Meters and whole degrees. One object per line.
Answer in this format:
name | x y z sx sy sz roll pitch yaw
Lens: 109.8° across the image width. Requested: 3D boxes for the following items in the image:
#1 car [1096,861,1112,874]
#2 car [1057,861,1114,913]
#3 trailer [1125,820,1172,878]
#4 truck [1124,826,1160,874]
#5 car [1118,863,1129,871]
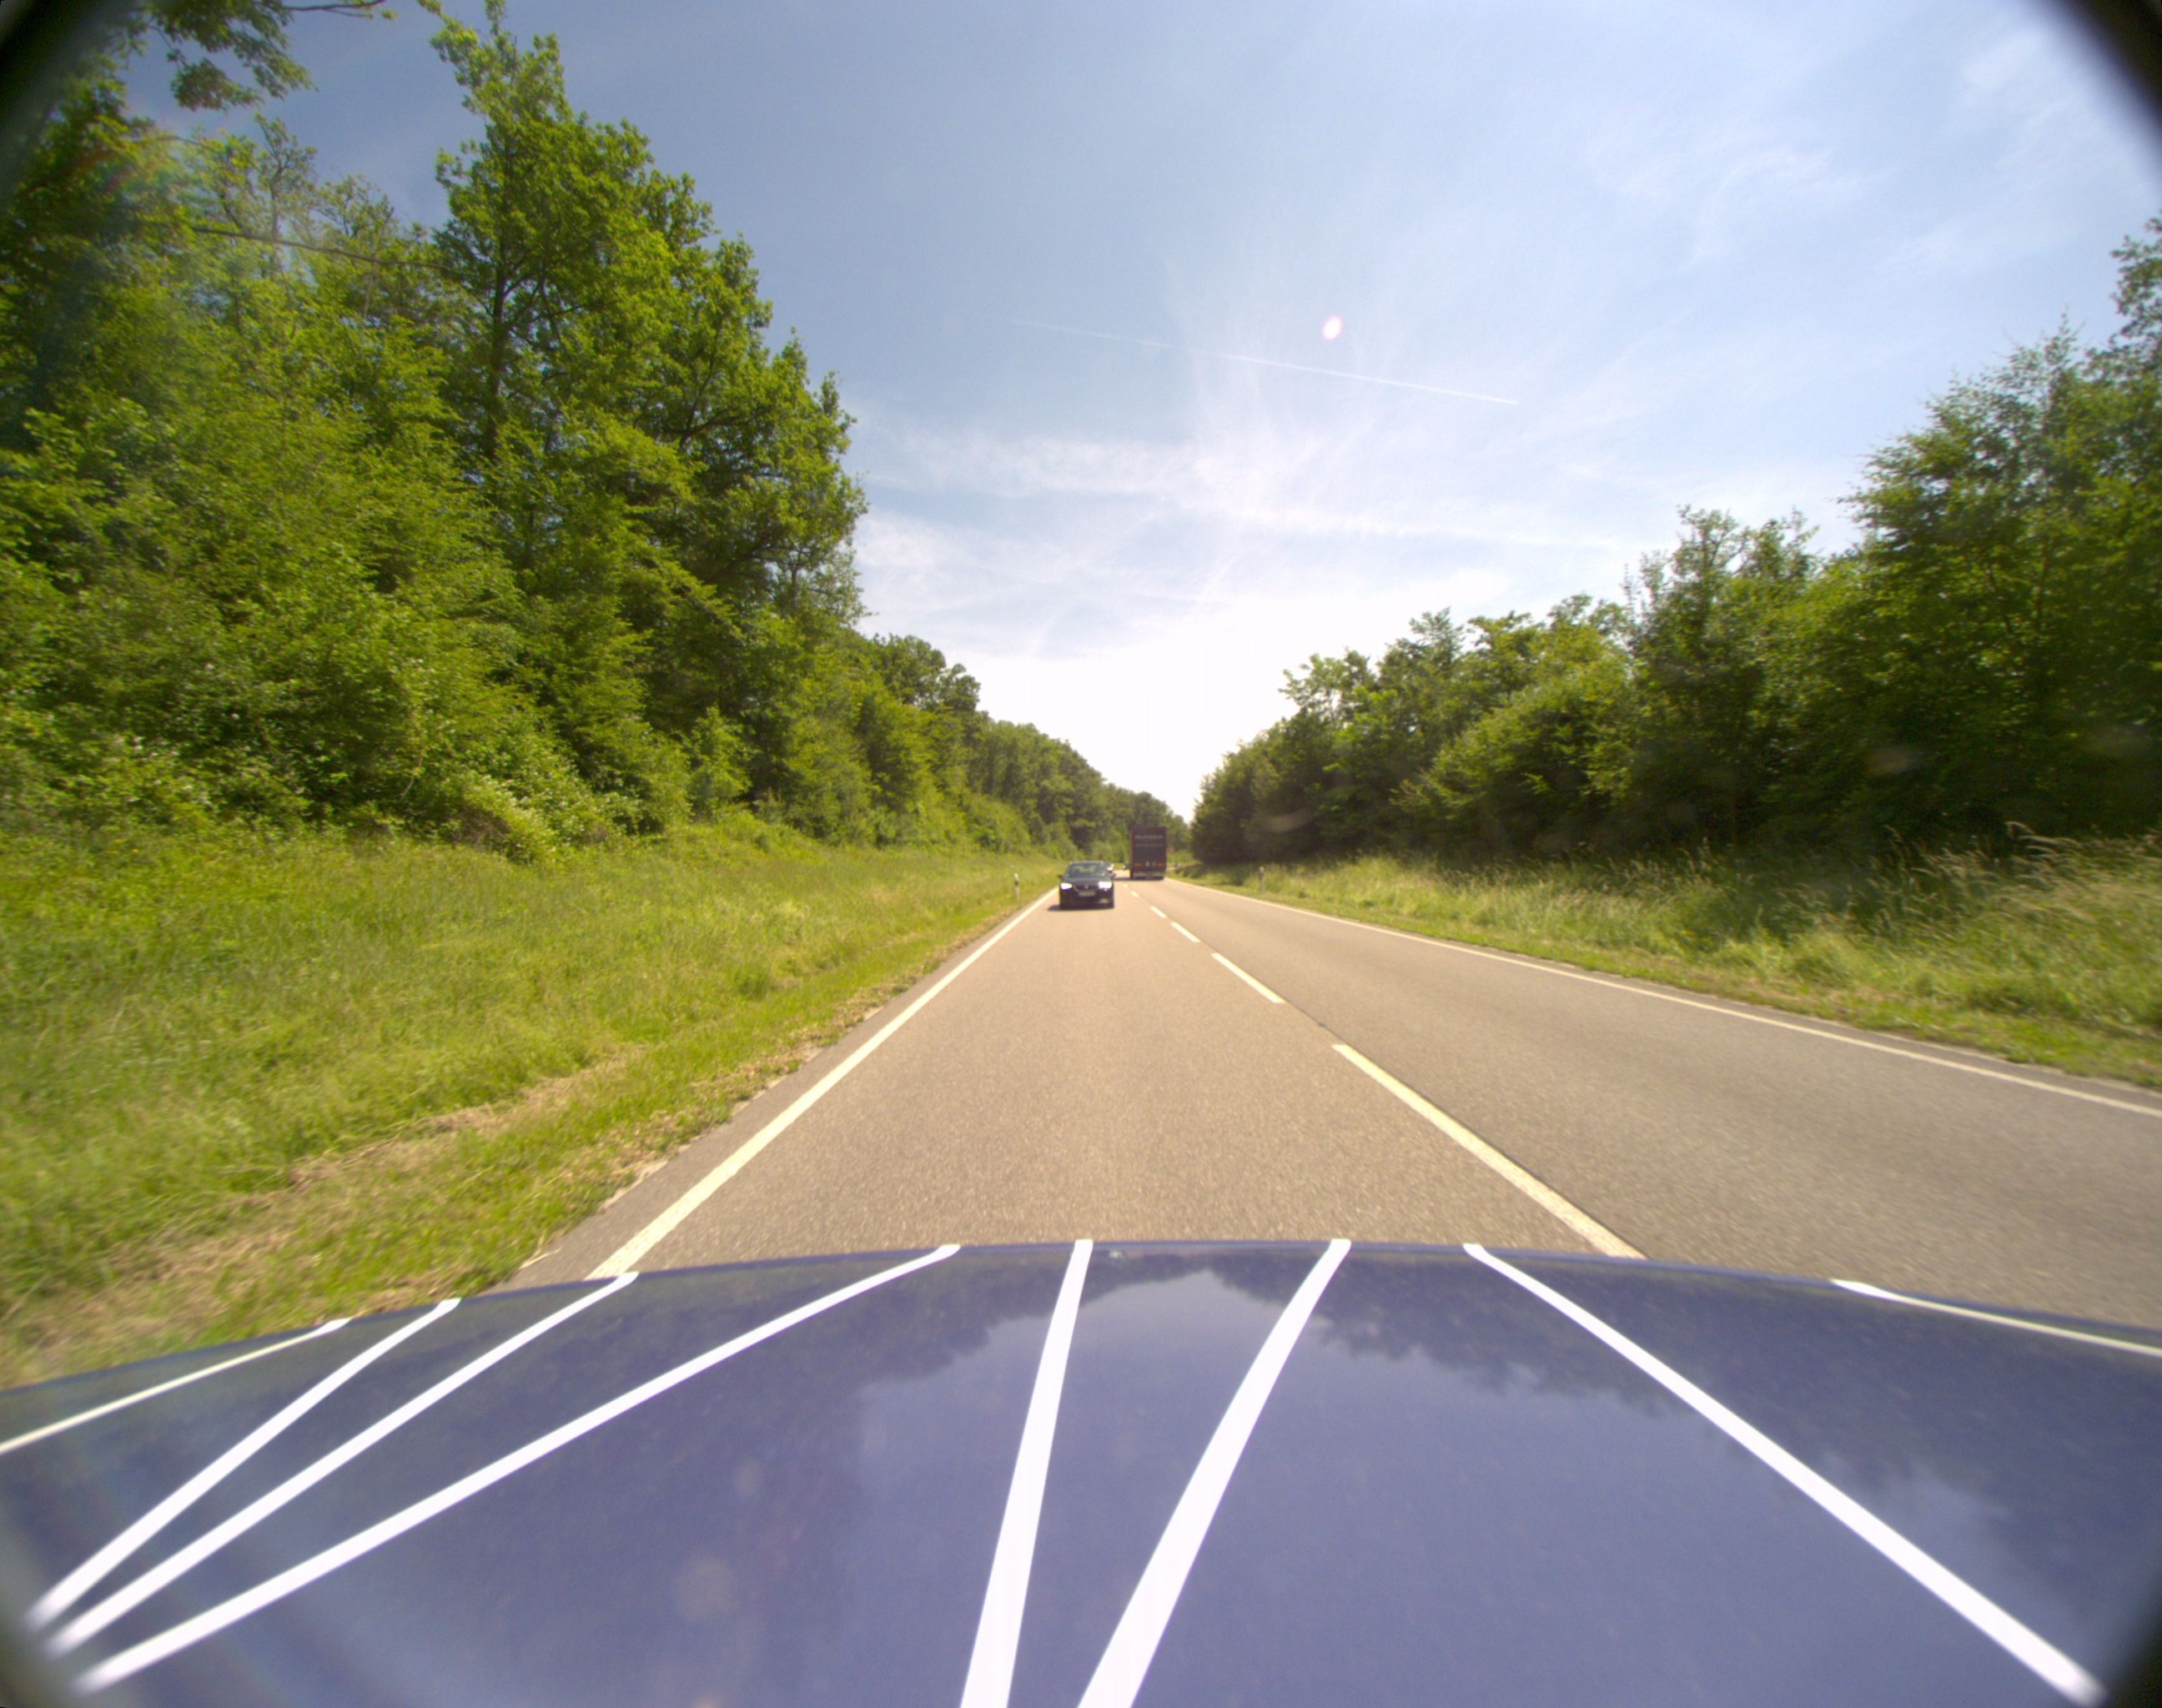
car | 2.717 1.584 89.162 1.775 1.454 3.949 0 0 3
car | 0.221 1.034 25.273 1.713 1.516 4.242 -1 0 2
trailer | 5.298 -0.390 62.393 2.949 4.228 13.620 -1 0 1
truck | 5.475 -0.393 69.338 2.929 4.191 5.343 -1 0 1
car | 7.660 2.352 137.610 1.775 1.454 4.002 0 0 6
